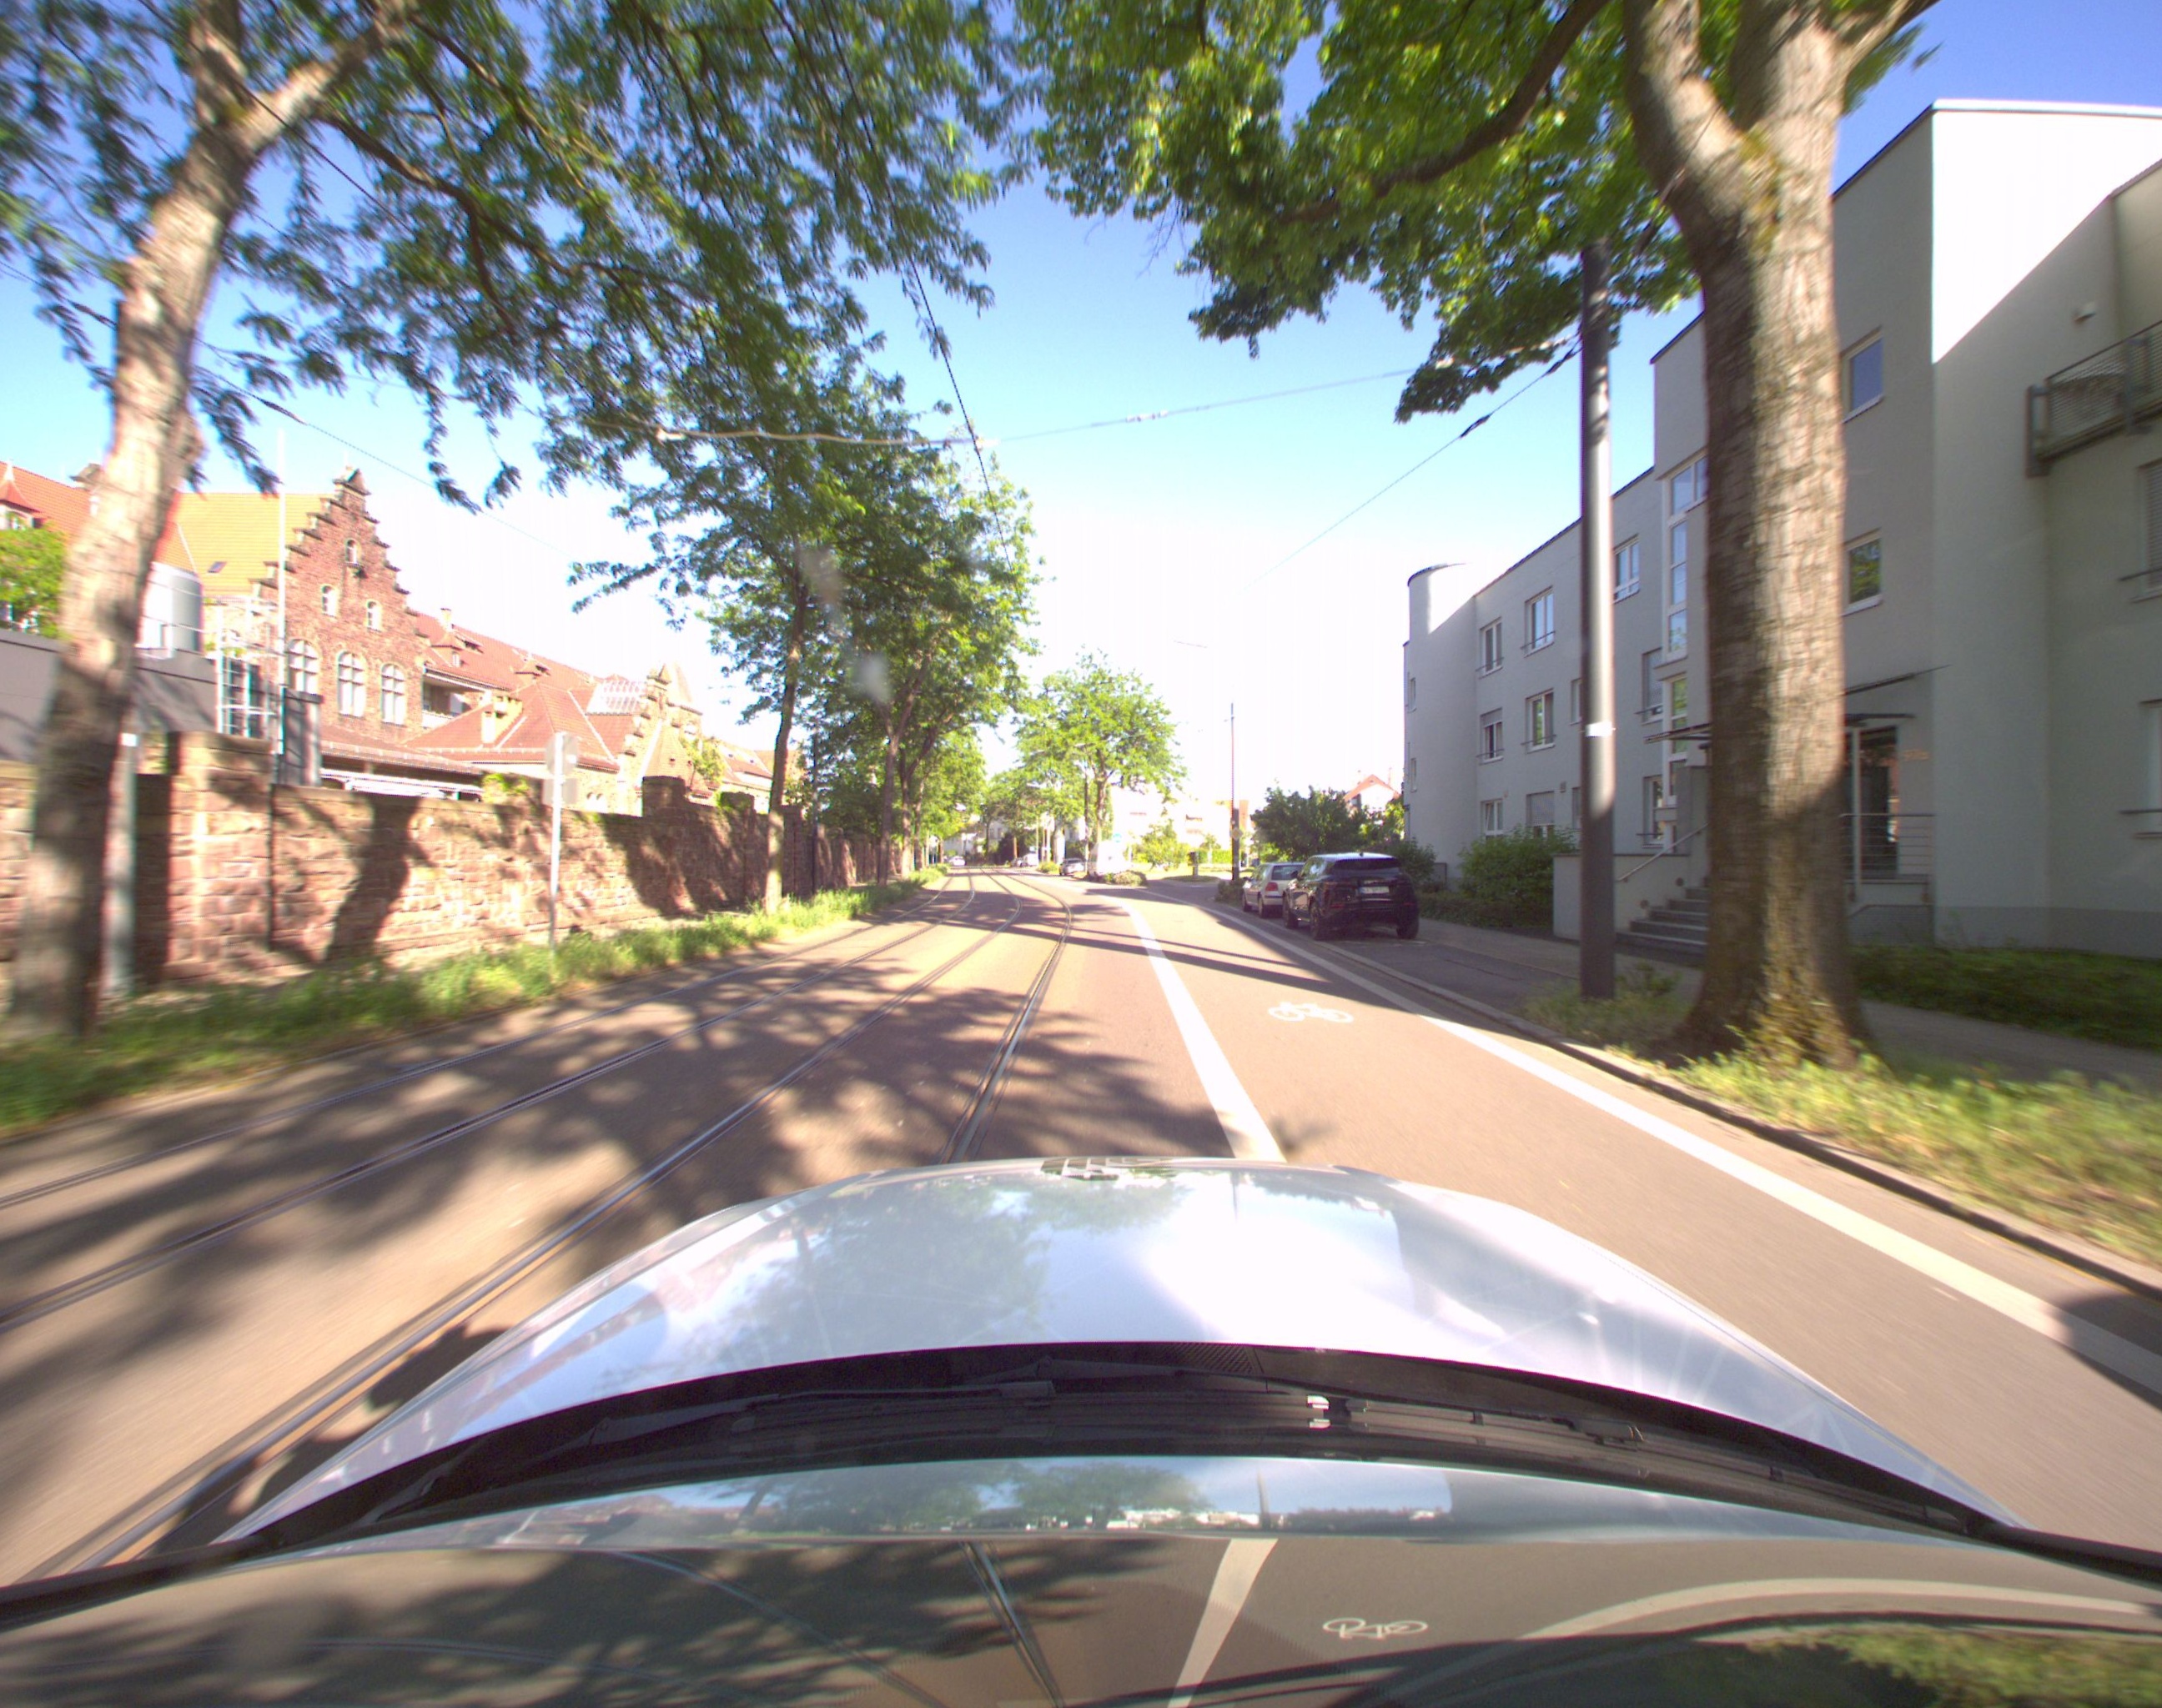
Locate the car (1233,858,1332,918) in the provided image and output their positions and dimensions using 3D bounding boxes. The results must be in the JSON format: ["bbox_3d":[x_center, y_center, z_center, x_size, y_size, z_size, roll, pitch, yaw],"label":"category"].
[{"bbox_3d":[5.458,0.874,22.577,1.732,1.495,4.531,0,-1,1],"label":"car"}]

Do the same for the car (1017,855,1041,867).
[{"bbox_3d":[-7.754,1.036,120.703,2.031,1.747,4.715,0,0,-23],"label":"car"}]

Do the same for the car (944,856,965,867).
[{"bbox_3d":[-21.468,1.282,138.420,1.906,1.611,4.183,1,-3,-34],"label":"car"}]

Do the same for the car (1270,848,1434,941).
[{"bbox_3d":[5.369,0.748,16.828,1.986,1.616,4.603,-1,-1,2],"label":"car"}]

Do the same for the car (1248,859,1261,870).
[{"bbox_3d":[28.590,1.703,133.934,2.031,1.708,4.303,0,-1,13],"label":"car"}]

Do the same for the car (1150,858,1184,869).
[{"bbox_3d":[11.627,1.273,110.131,4.295,1.511,1.827,0,-3,-20],"label":"car"}]

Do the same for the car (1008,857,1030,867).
[{"bbox_3d":[-9.671,1.286,126.353,2.003,1.423,4.297,0,-1,-24],"label":"car"}]

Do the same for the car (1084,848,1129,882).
[{"bbox_3d":[1.585,0.685,52.836,1.993,2.095,4.700,0,0,-10],"label":"car"}]

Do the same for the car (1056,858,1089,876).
[{"bbox_3d":[-0.781,1.116,70.954,2.001,1.465,5.415,-3,0,-9],"label":"car"}]
